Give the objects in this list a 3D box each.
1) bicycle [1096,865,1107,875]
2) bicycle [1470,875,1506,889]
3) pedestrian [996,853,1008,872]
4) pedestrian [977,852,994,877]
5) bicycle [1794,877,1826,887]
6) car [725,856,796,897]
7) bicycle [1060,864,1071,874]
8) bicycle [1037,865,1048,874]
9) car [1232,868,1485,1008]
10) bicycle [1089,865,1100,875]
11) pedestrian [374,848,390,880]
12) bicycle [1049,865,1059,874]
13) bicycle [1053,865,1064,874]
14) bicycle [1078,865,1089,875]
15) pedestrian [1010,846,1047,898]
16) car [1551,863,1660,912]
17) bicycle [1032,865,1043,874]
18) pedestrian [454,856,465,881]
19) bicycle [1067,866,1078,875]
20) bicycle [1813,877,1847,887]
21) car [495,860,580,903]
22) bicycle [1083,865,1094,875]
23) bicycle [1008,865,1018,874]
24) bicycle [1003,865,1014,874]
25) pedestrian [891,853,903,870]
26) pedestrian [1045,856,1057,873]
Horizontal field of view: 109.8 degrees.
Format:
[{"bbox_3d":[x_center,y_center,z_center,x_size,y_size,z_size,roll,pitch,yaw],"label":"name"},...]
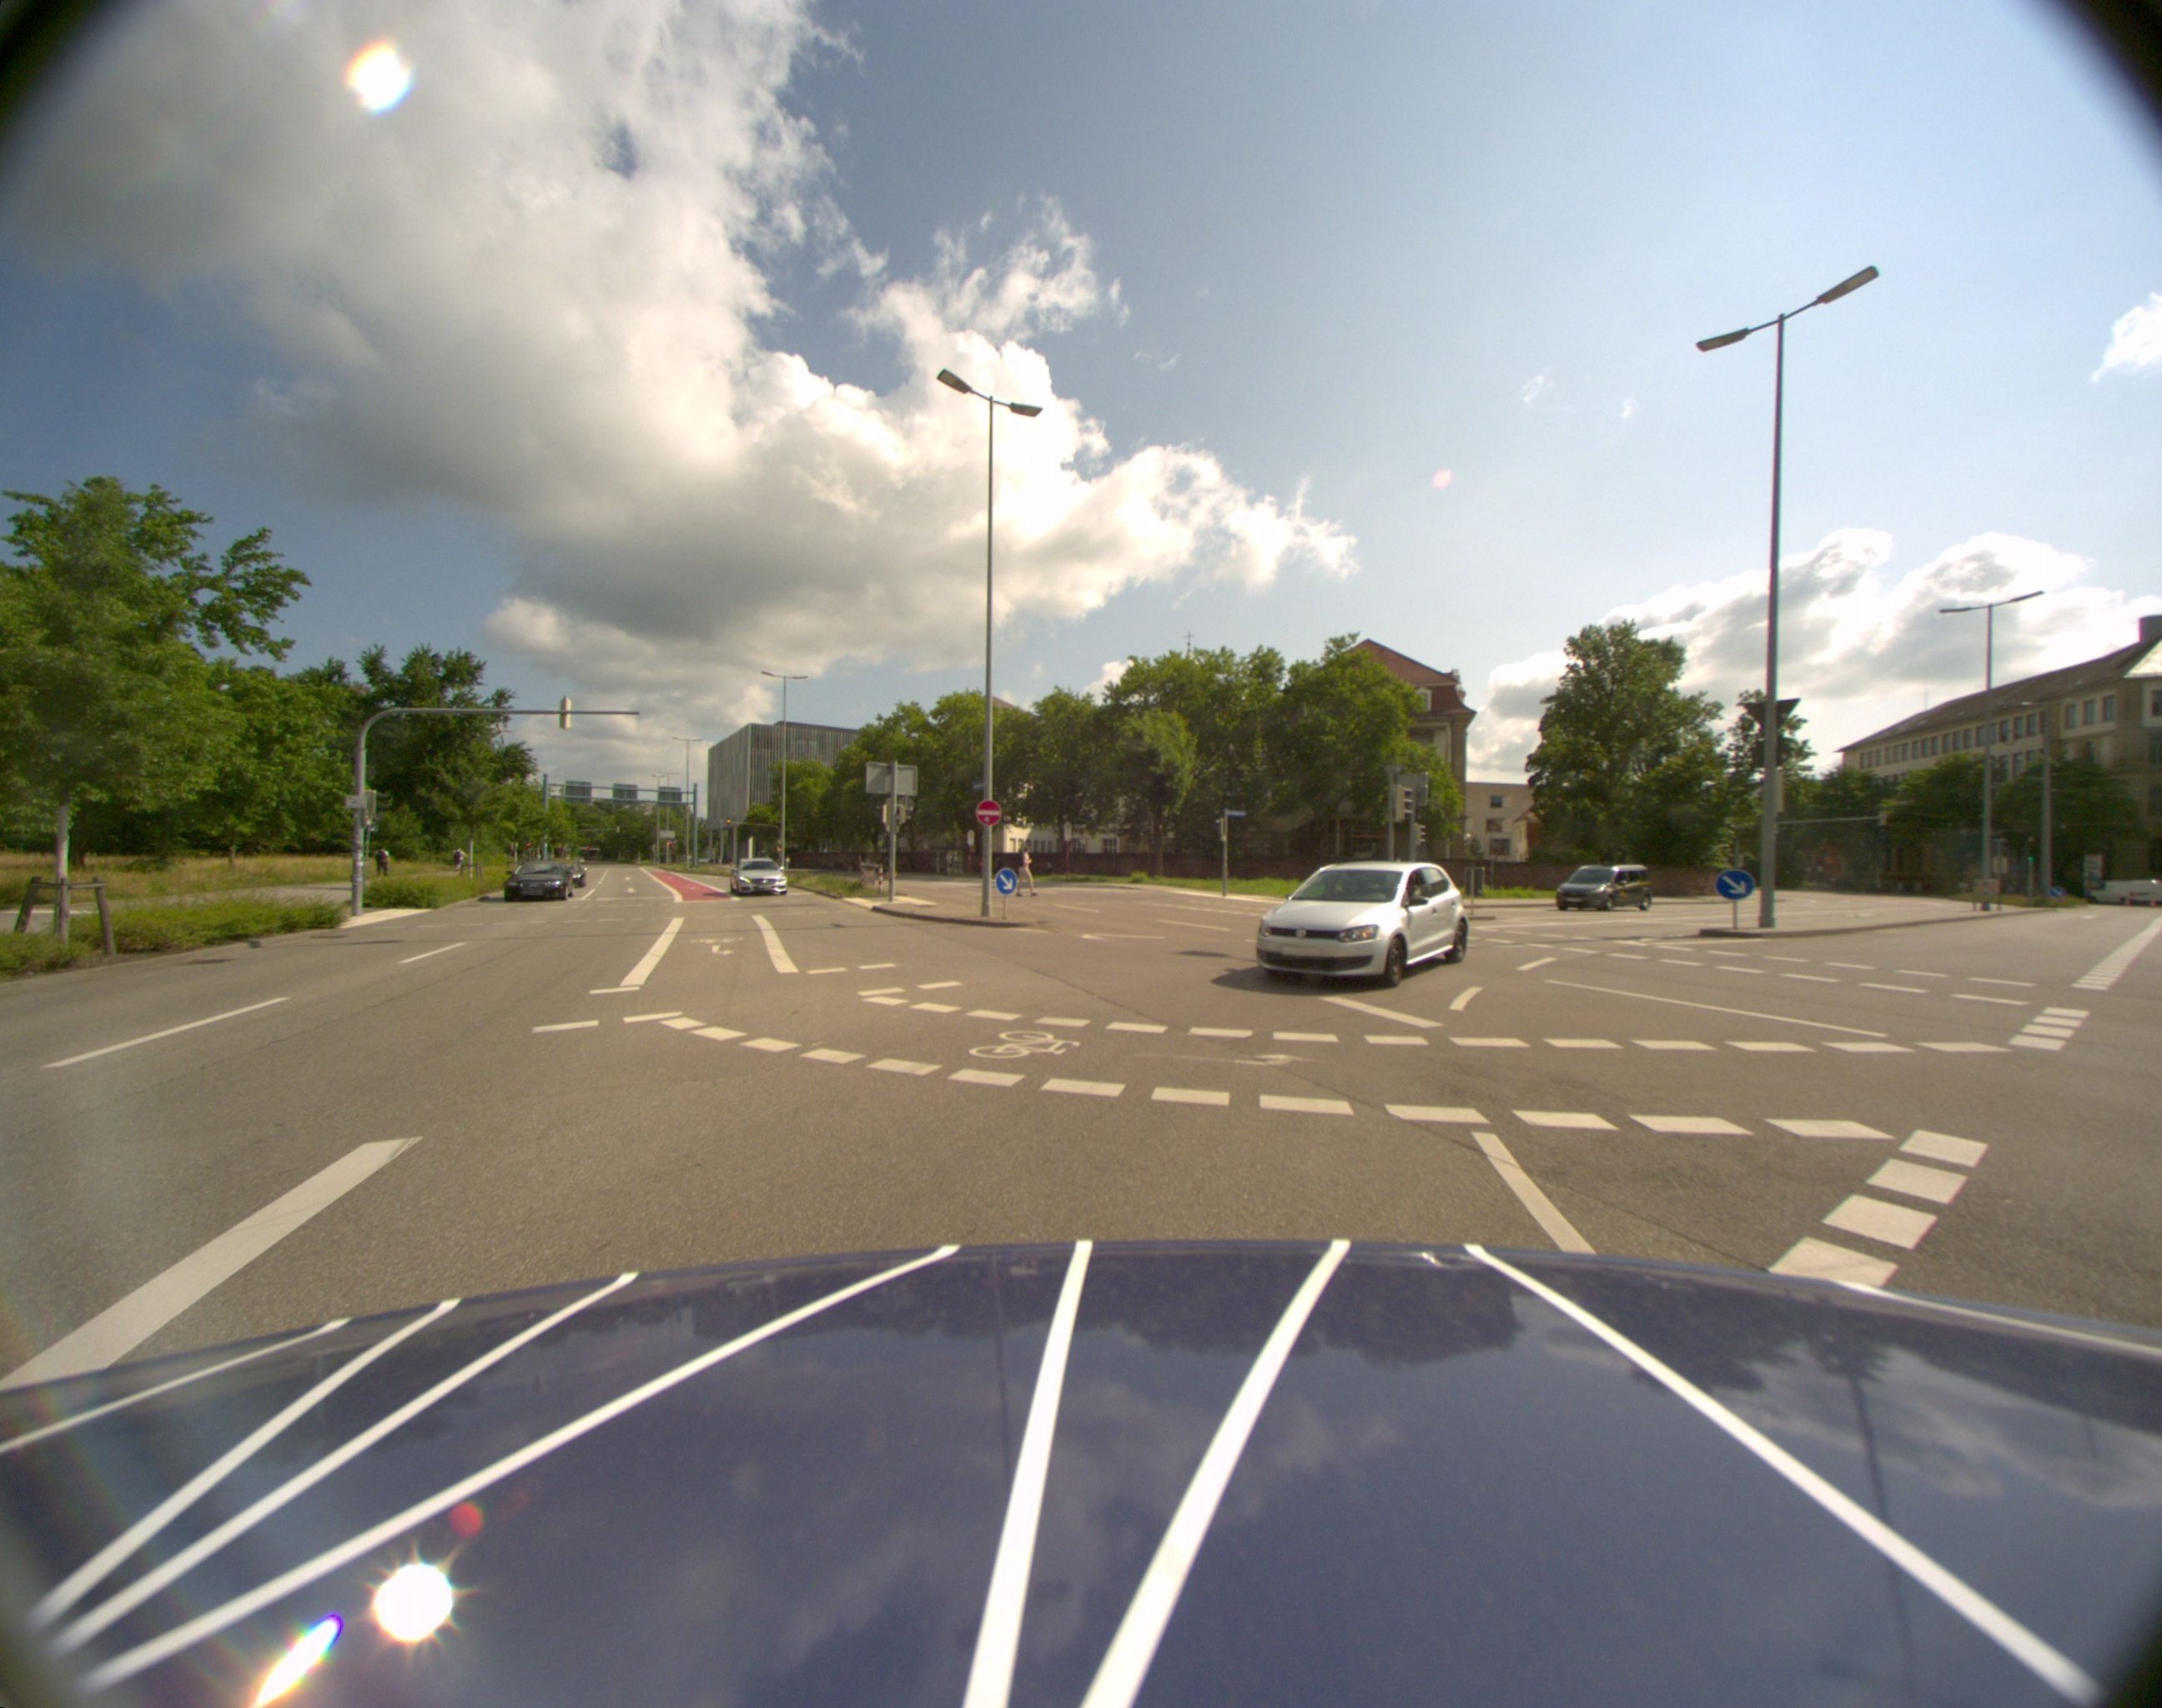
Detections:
[{"bbox_3d":[1.820,1.395,66.683,0.481,0.843,0.975,2,0,34],"label":"bicycle"},{"bbox_3d":[29.292,1.999,54.727,2.057,0.856,0.859,1,2,9],"label":"bicycle"},{"bbox_3d":[-7.357,0.772,70.756,0.740,1.713,0.665,2,0,37],"label":"pedestrian"},{"bbox_3d":[-6.770,0.752,53.914,0.963,1.770,0.751,1,1,45],"label":"pedestrian"},{"bbox_3d":[96.830,3.725,100.980,1.074,1.200,2.889,-2,1,-27],"label":"bicycle"},{"bbox_3d":[-13.052,0.855,30.750,2.065,1.434,4.768,-1,1,-30],"label":"car"},{"bbox_3d":[-1.391,1.377,68.851,0.481,0.843,0.975,2,0,34],"label":"bicycle"},{"bbox_3d":[-3.583,1.438,70.299,0.481,0.843,0.975,2,0,34],"label":"bicycle"},{"bbox_3d":[3.801,0.921,10.009,1.651,1.433,4.014,1,0,43],"label":"car"},{"bbox_3d":[1.213,1.429,66.999,0.481,0.843,0.975,2,0,34],"label":"bicycle"},{"bbox_3d":[-35.176,0.497,38.229,0.543,1.597,0.523,1,-2,-38],"label":"pedestrian"},{"bbox_3d":[-2.464,1.406,69.585,0.481,0.843,0.975,2,0,34],"label":"bicycle"},{"bbox_3d":[-2.028,1.391,69.224,0.481,0.843,0.975,2,0,34],"label":"bicycle"},{"bbox_3d":[0.248,1.437,67.733,0.481,0.843,0.975,2,0,34],"label":"bicycle"},{"bbox_3d":[-1.939,0.639,28.237,1.183,1.847,0.697,-3,3,-45],"label":"pedestrian"},{"bbox_3d":[20.488,1.282,29.613,4.680,1.774,1.850,2,-2,-33],"label":"car"},{"bbox_3d":[-4.053,1.449,70.593,0.481,0.843,0.975,2,0,34],"label":"bicycle"},{"bbox_3d":[-45.094,1.071,55.145,0.543,1.757,0.523,1,-2,-38],"label":"pedestrian"},{"bbox_3d":[-0.756,1.475,68.321,0.498,0.843,1.076,1,0,34],"label":"bicycle"},{"bbox_3d":[96.346,3.618,97.776,1.051,1.200,2.889,-2,1,-27],"label":"bicycle"},{"bbox_3d":[-19.207,0.931,27.044,2.004,1.369,4.150,2,-1,-30],"label":"car"},{"bbox_3d":[0.680,1.422,67.345,0.481,0.843,0.975,2,0,34],"label":"bicycle"},{"bbox_3d":[-6.453,1.450,72.245,0.481,0.843,0.975,2,0,34],"label":"bicycle"},{"bbox_3d":[-6.947,1.462,72.544,0.481,0.843,0.975,2,0,34],"label":"bicycle"},{"bbox_3d":[-19.705,0.824,81.382,0.888,1.770,0.768,-4,4,-44],"label":"pedestrian"},{"bbox_3d":[-2.718,0.912,68.894,0.722,1.525,0.728,1,0,36],"label":"pedestrian"}]
